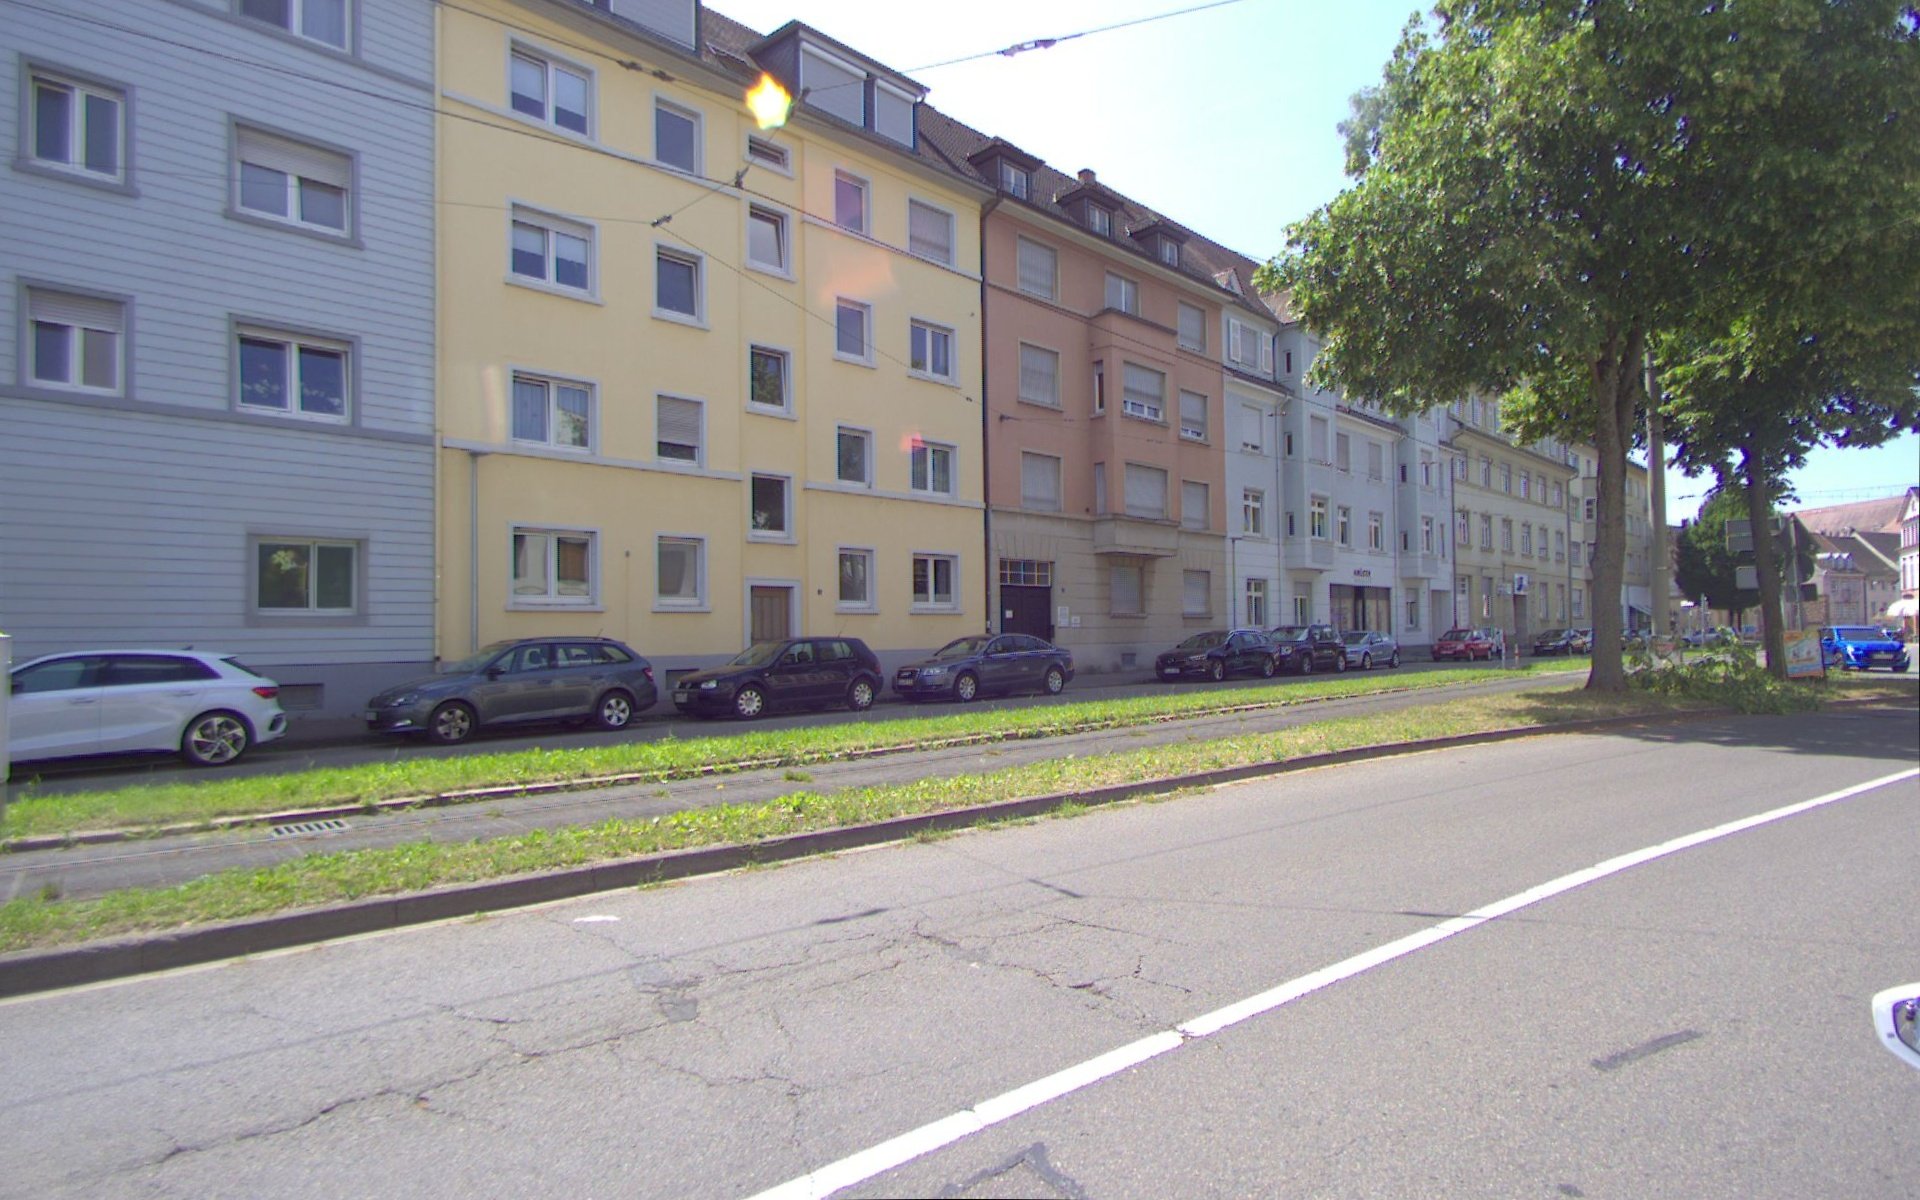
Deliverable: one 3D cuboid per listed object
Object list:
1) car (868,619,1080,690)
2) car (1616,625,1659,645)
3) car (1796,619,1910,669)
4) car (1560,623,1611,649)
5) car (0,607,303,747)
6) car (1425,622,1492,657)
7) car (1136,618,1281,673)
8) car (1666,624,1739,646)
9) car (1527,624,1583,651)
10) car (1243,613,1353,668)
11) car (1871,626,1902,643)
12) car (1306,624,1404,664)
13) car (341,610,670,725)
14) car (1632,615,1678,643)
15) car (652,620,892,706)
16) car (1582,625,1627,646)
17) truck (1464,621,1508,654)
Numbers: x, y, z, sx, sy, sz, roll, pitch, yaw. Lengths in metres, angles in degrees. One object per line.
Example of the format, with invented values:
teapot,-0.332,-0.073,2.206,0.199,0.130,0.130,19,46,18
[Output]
car,0.415,1.176,22.577,4.829,1.416,1.910,1,-3,-44
car,46.298,2.367,68.646,4.236,1.294,1.625,1,-3,-45
car,29.496,1.408,33.323,1.781,1.512,3.996,0,-1,26
car,36.632,2.097,58.796,3.832,1.408,1.670,1,-3,-45
car,-10.425,0.877,11.702,1.908,1.470,4.350,-4,-4,43
car,21.986,1.721,44.260,3.602,1.470,1.556,1,-3,-45
car,7.409,1.315,29.701,4.831,1.510,1.909,1,-3,-45
car,55.279,2.588,74.787,4.157,1.524,1.993,-3,-3,42
car,32.554,2.030,54.904,3.832,1.378,1.670,1,-3,-45
car,11.331,1.351,33.578,4.116,1.707,1.818,1,-3,-45
car,84.556,3.102,91.682,1.838,1.506,3.982,0,-1,39
car,14.552,1.587,36.936,4.223,1.374,1.789,1,-3,-45
car,-6.938,0.974,15.667,1.907,1.524,4.300,-3,-3,43
car,49.905,2.107,72.123,4.740,1.936,1.835,1,-3,-45
car,-3.431,1.114,18.802,4.115,1.418,1.813,1,-3,-44
car,39.978,2.194,62.292,3.267,1.294,1.670,1,-3,-45
truck,24.846,1.780,47.423,1.114,1.514,2.578,-3,-3,44
